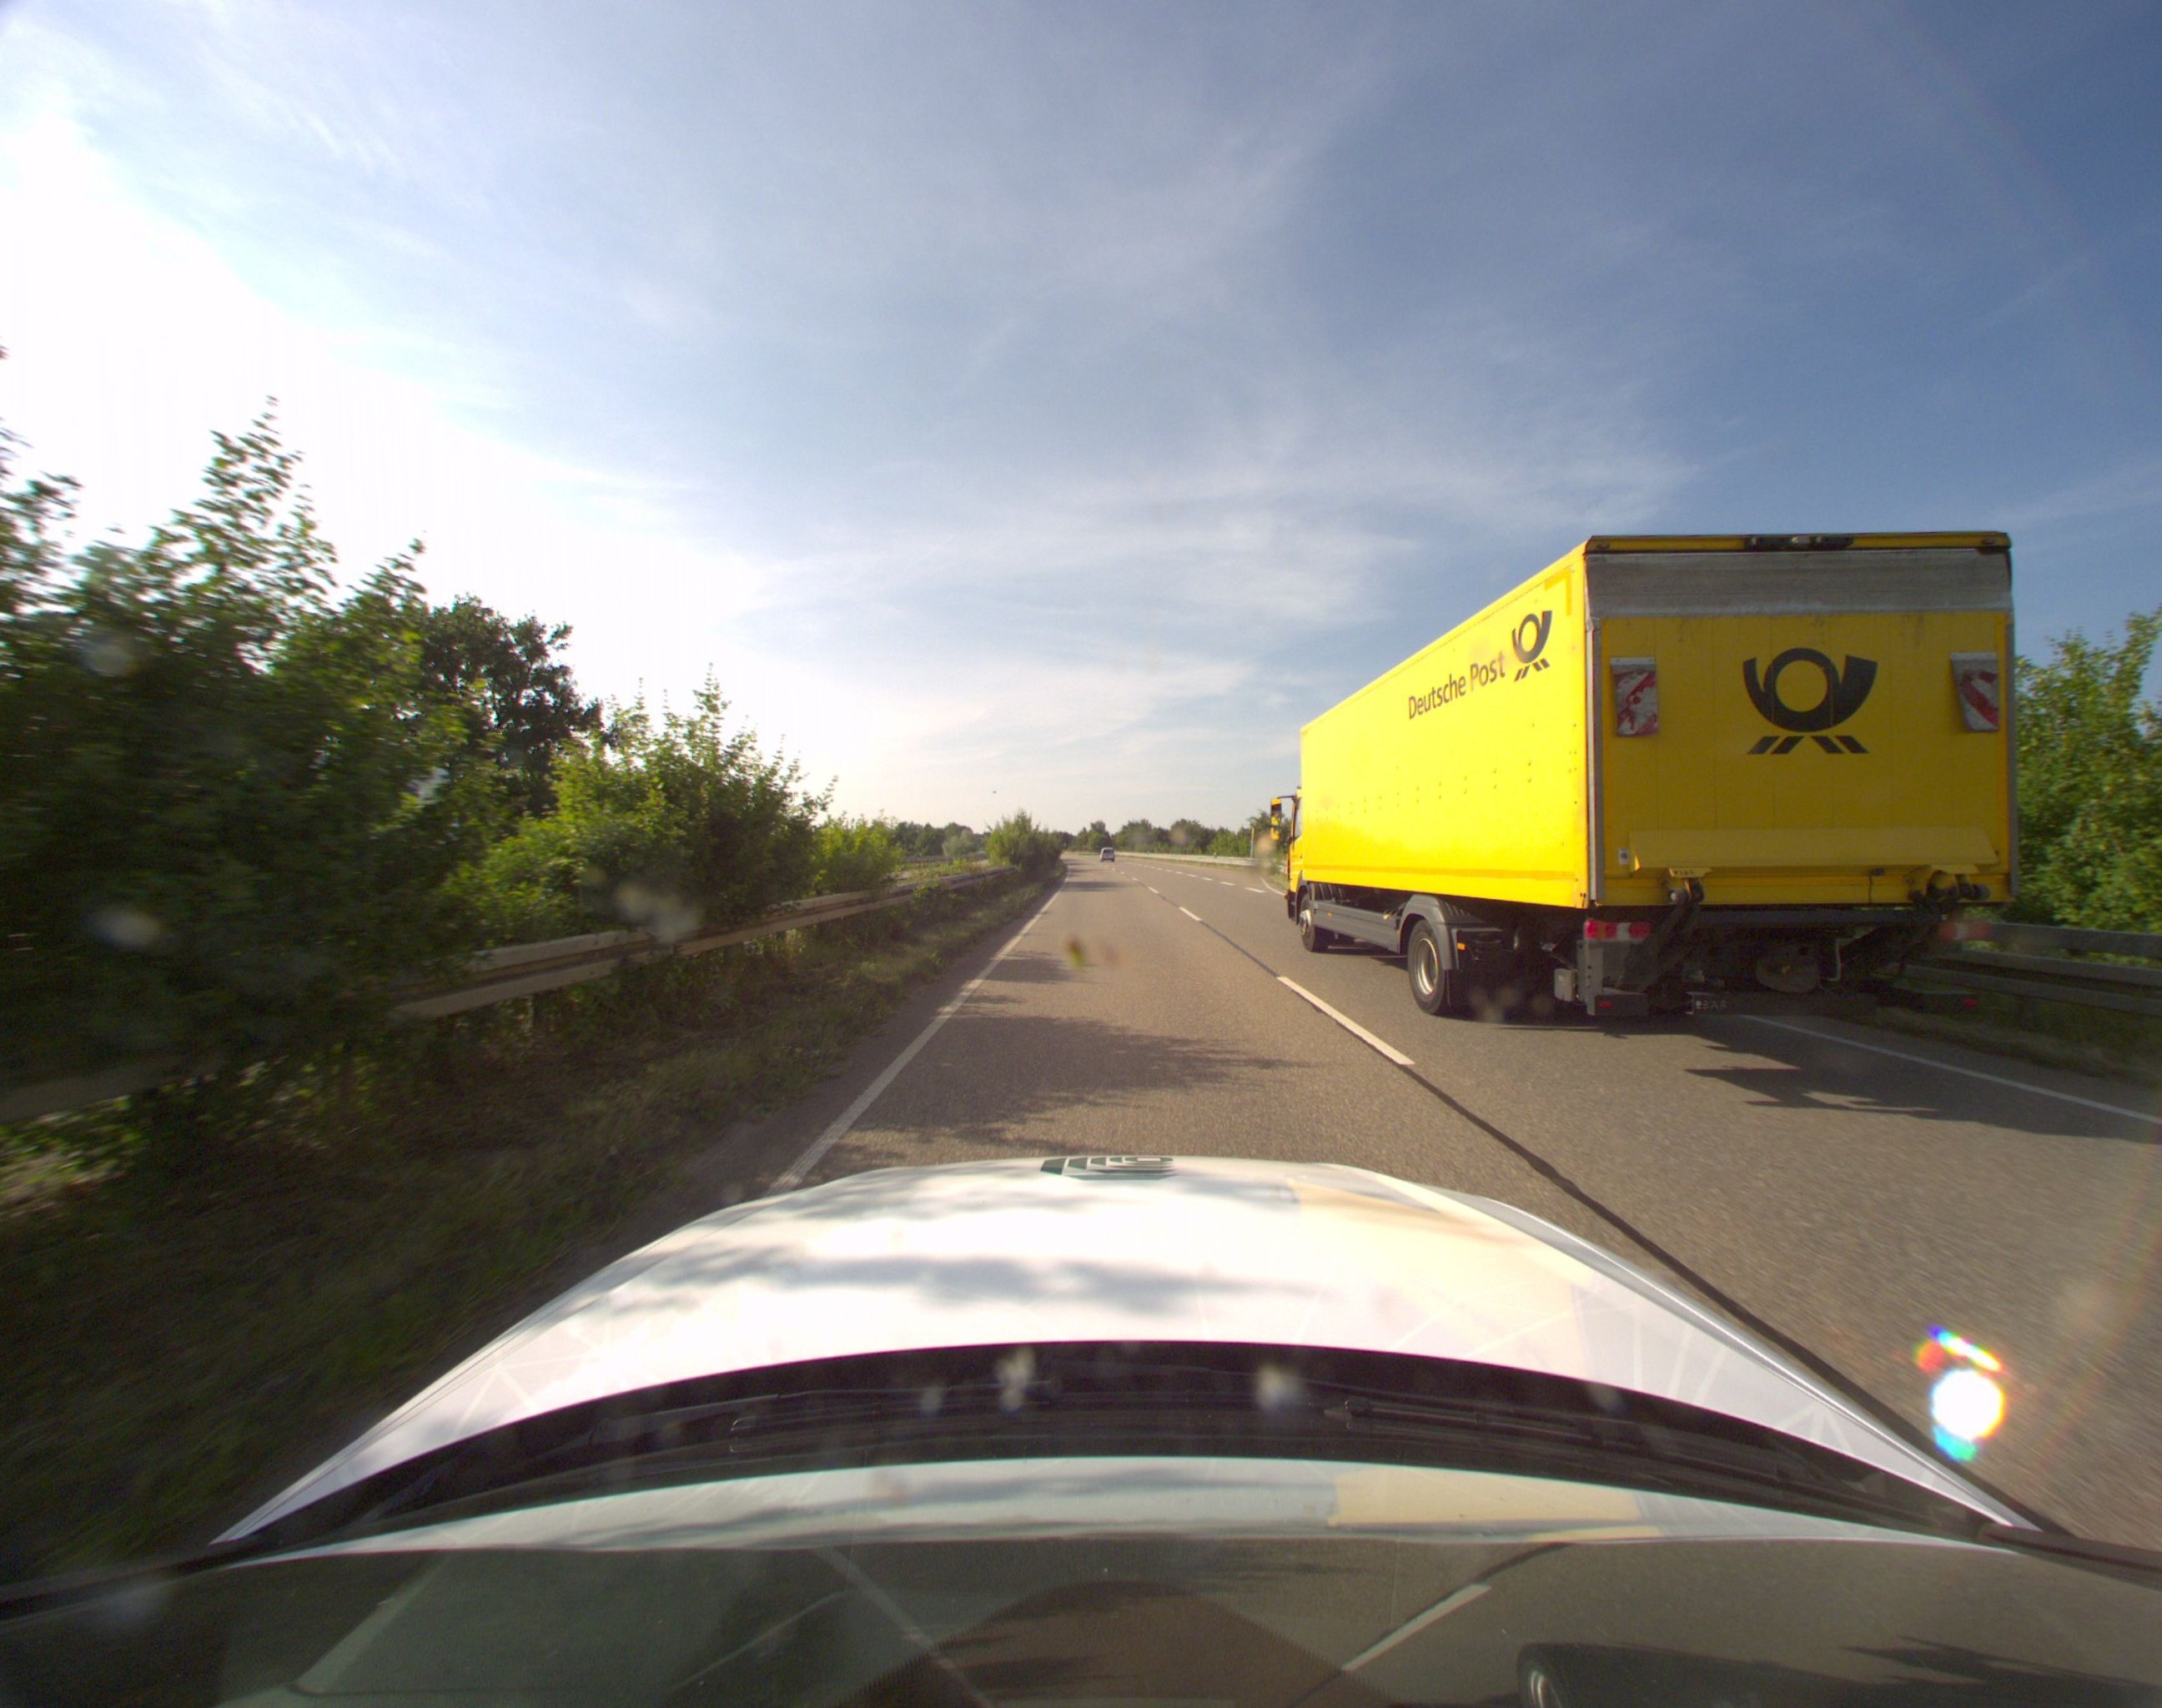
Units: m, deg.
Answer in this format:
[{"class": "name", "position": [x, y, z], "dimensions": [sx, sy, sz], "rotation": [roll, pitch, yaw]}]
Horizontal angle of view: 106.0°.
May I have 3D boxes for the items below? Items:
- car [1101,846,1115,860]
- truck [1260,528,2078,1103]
[{"class": "car", "position": [3.562, -0.098, 107.797], "dimensions": [1.760, 1.882, 3.999], "rotation": [-1, -1, 0]}, {"class": "truck", "position": [4.553, -0.245, 9.979], "dimensions": [2.768, 3.316, 10.495], "rotation": [-1, 0, 2]}]
